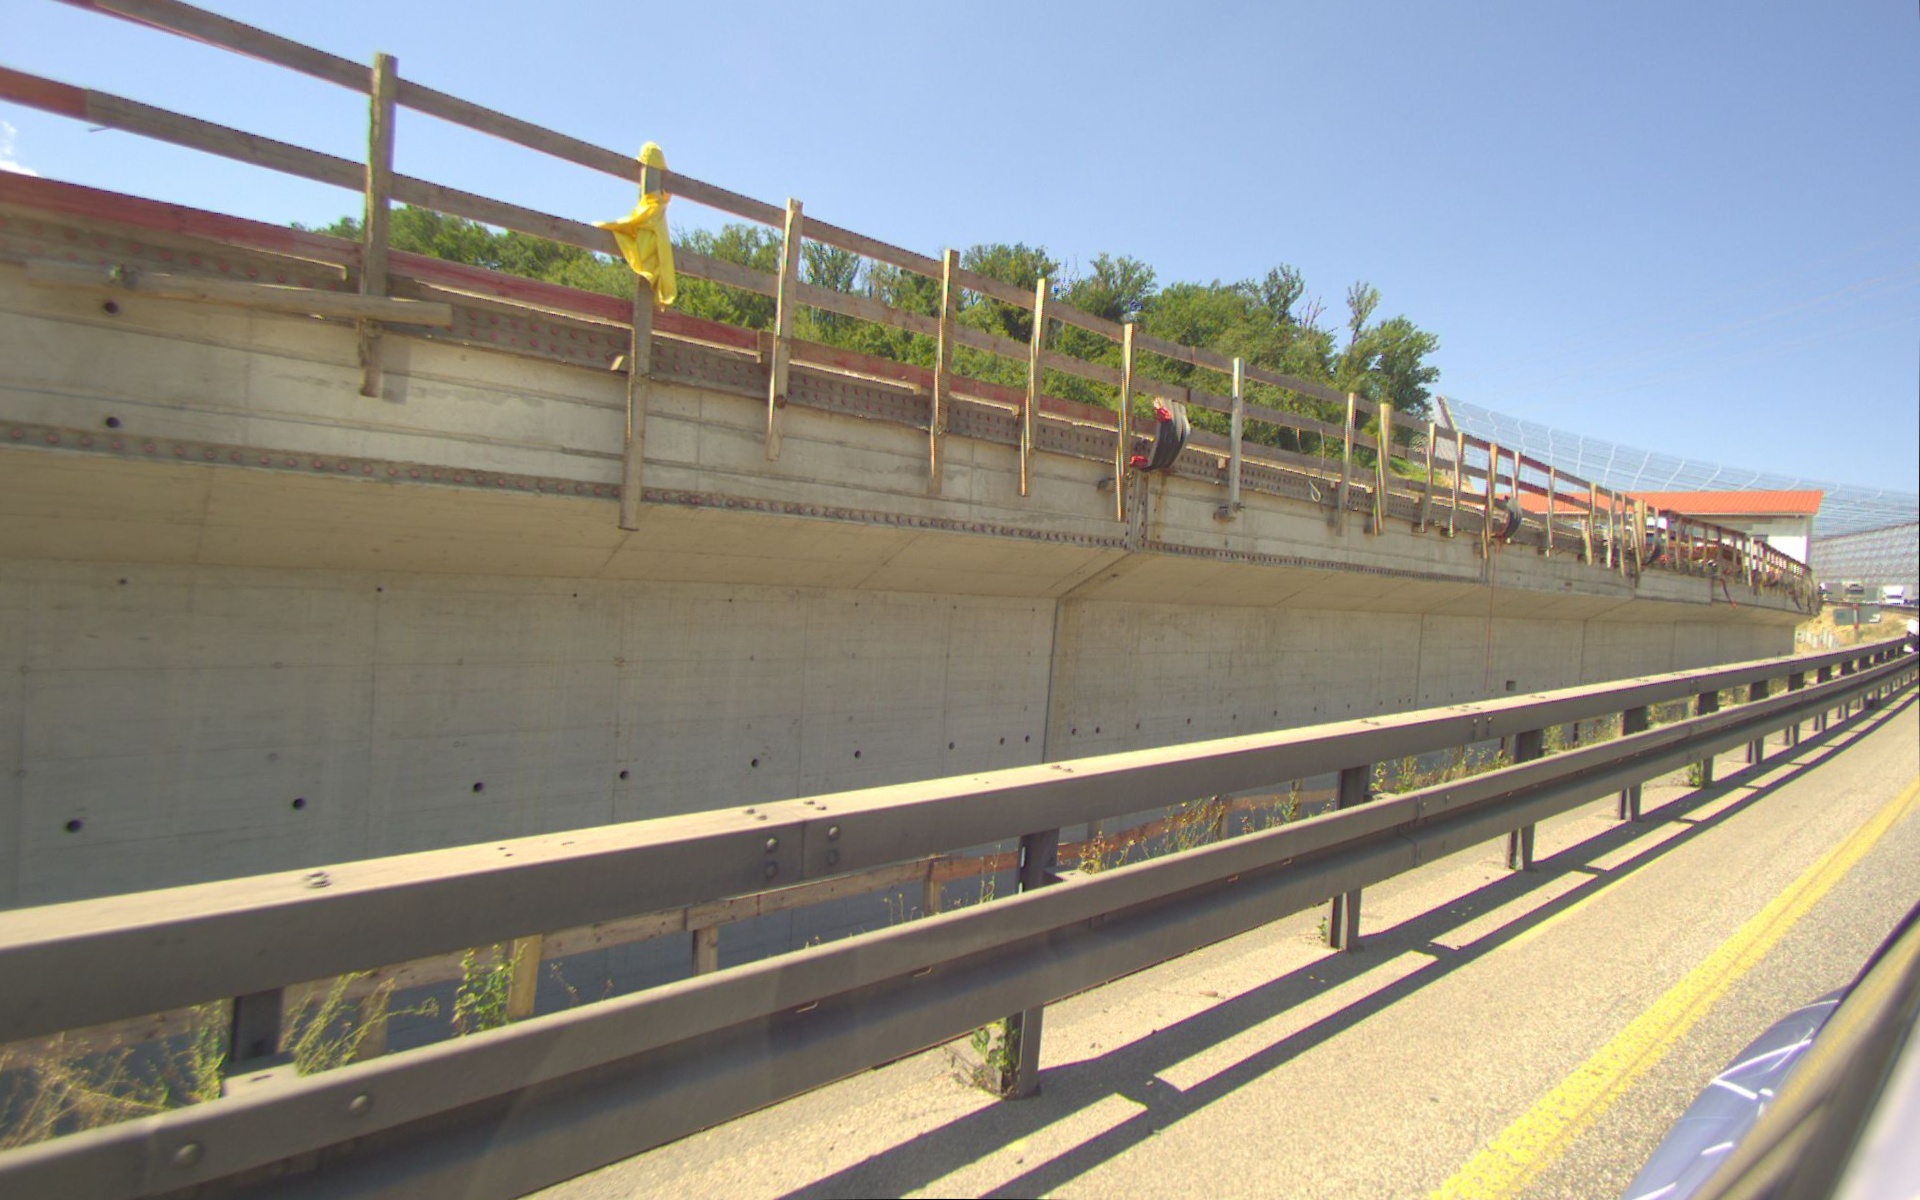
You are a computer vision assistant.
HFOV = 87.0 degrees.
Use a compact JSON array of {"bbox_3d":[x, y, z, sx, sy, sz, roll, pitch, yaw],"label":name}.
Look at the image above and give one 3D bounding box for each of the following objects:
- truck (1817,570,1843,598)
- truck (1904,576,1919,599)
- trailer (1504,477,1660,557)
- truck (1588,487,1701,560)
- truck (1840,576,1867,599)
[{"bbox_3d":[155.161,-2.944,180.504,3.027,4.865,8.821,0,1,38],"label":"truck"},{"bbox_3d":[175.955,-2.378,185.841,3.027,4.107,8.559,0,1,37],"label":"truck"},{"bbox_3d":[35.521,-4.634,57.776,8.806,3.741,2.725,3,0,-21],"label":"trailer"},{"bbox_3d":[40.394,-4.426,59.717,5.590,3.741,2.725,3,0,-21],"label":"truck"},{"bbox_3d":[153.668,-2.213,174.012,8.116,3.793,3.035,-1,1,-45],"label":"truck"}]
